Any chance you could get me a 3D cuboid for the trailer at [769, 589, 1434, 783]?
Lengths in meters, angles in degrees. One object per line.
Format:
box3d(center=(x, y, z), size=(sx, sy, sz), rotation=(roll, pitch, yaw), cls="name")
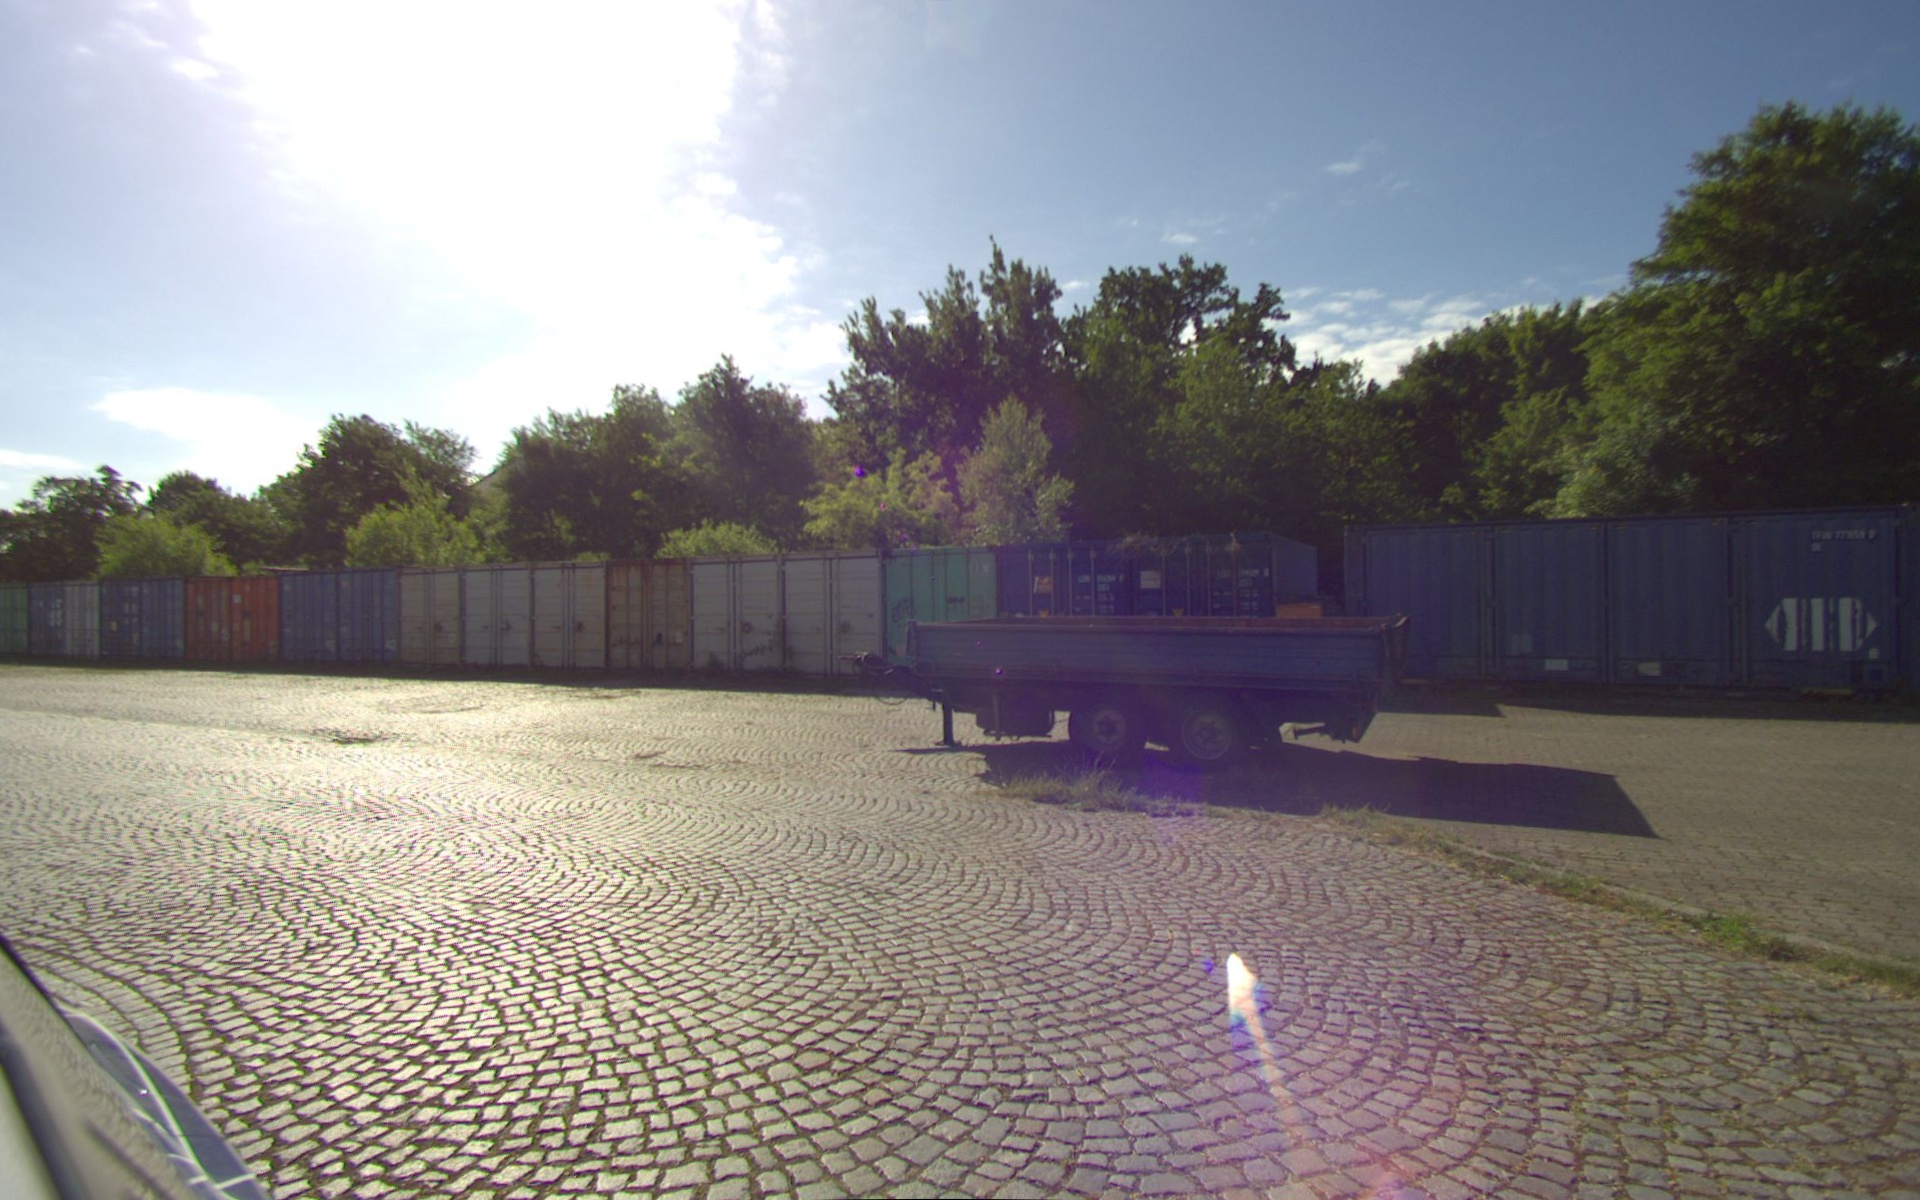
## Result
box3d(center=(1.433, 0.750, 10.787), size=(6.461, 1.529, 2.829), rotation=(-2, 0, 27), cls="trailer")
